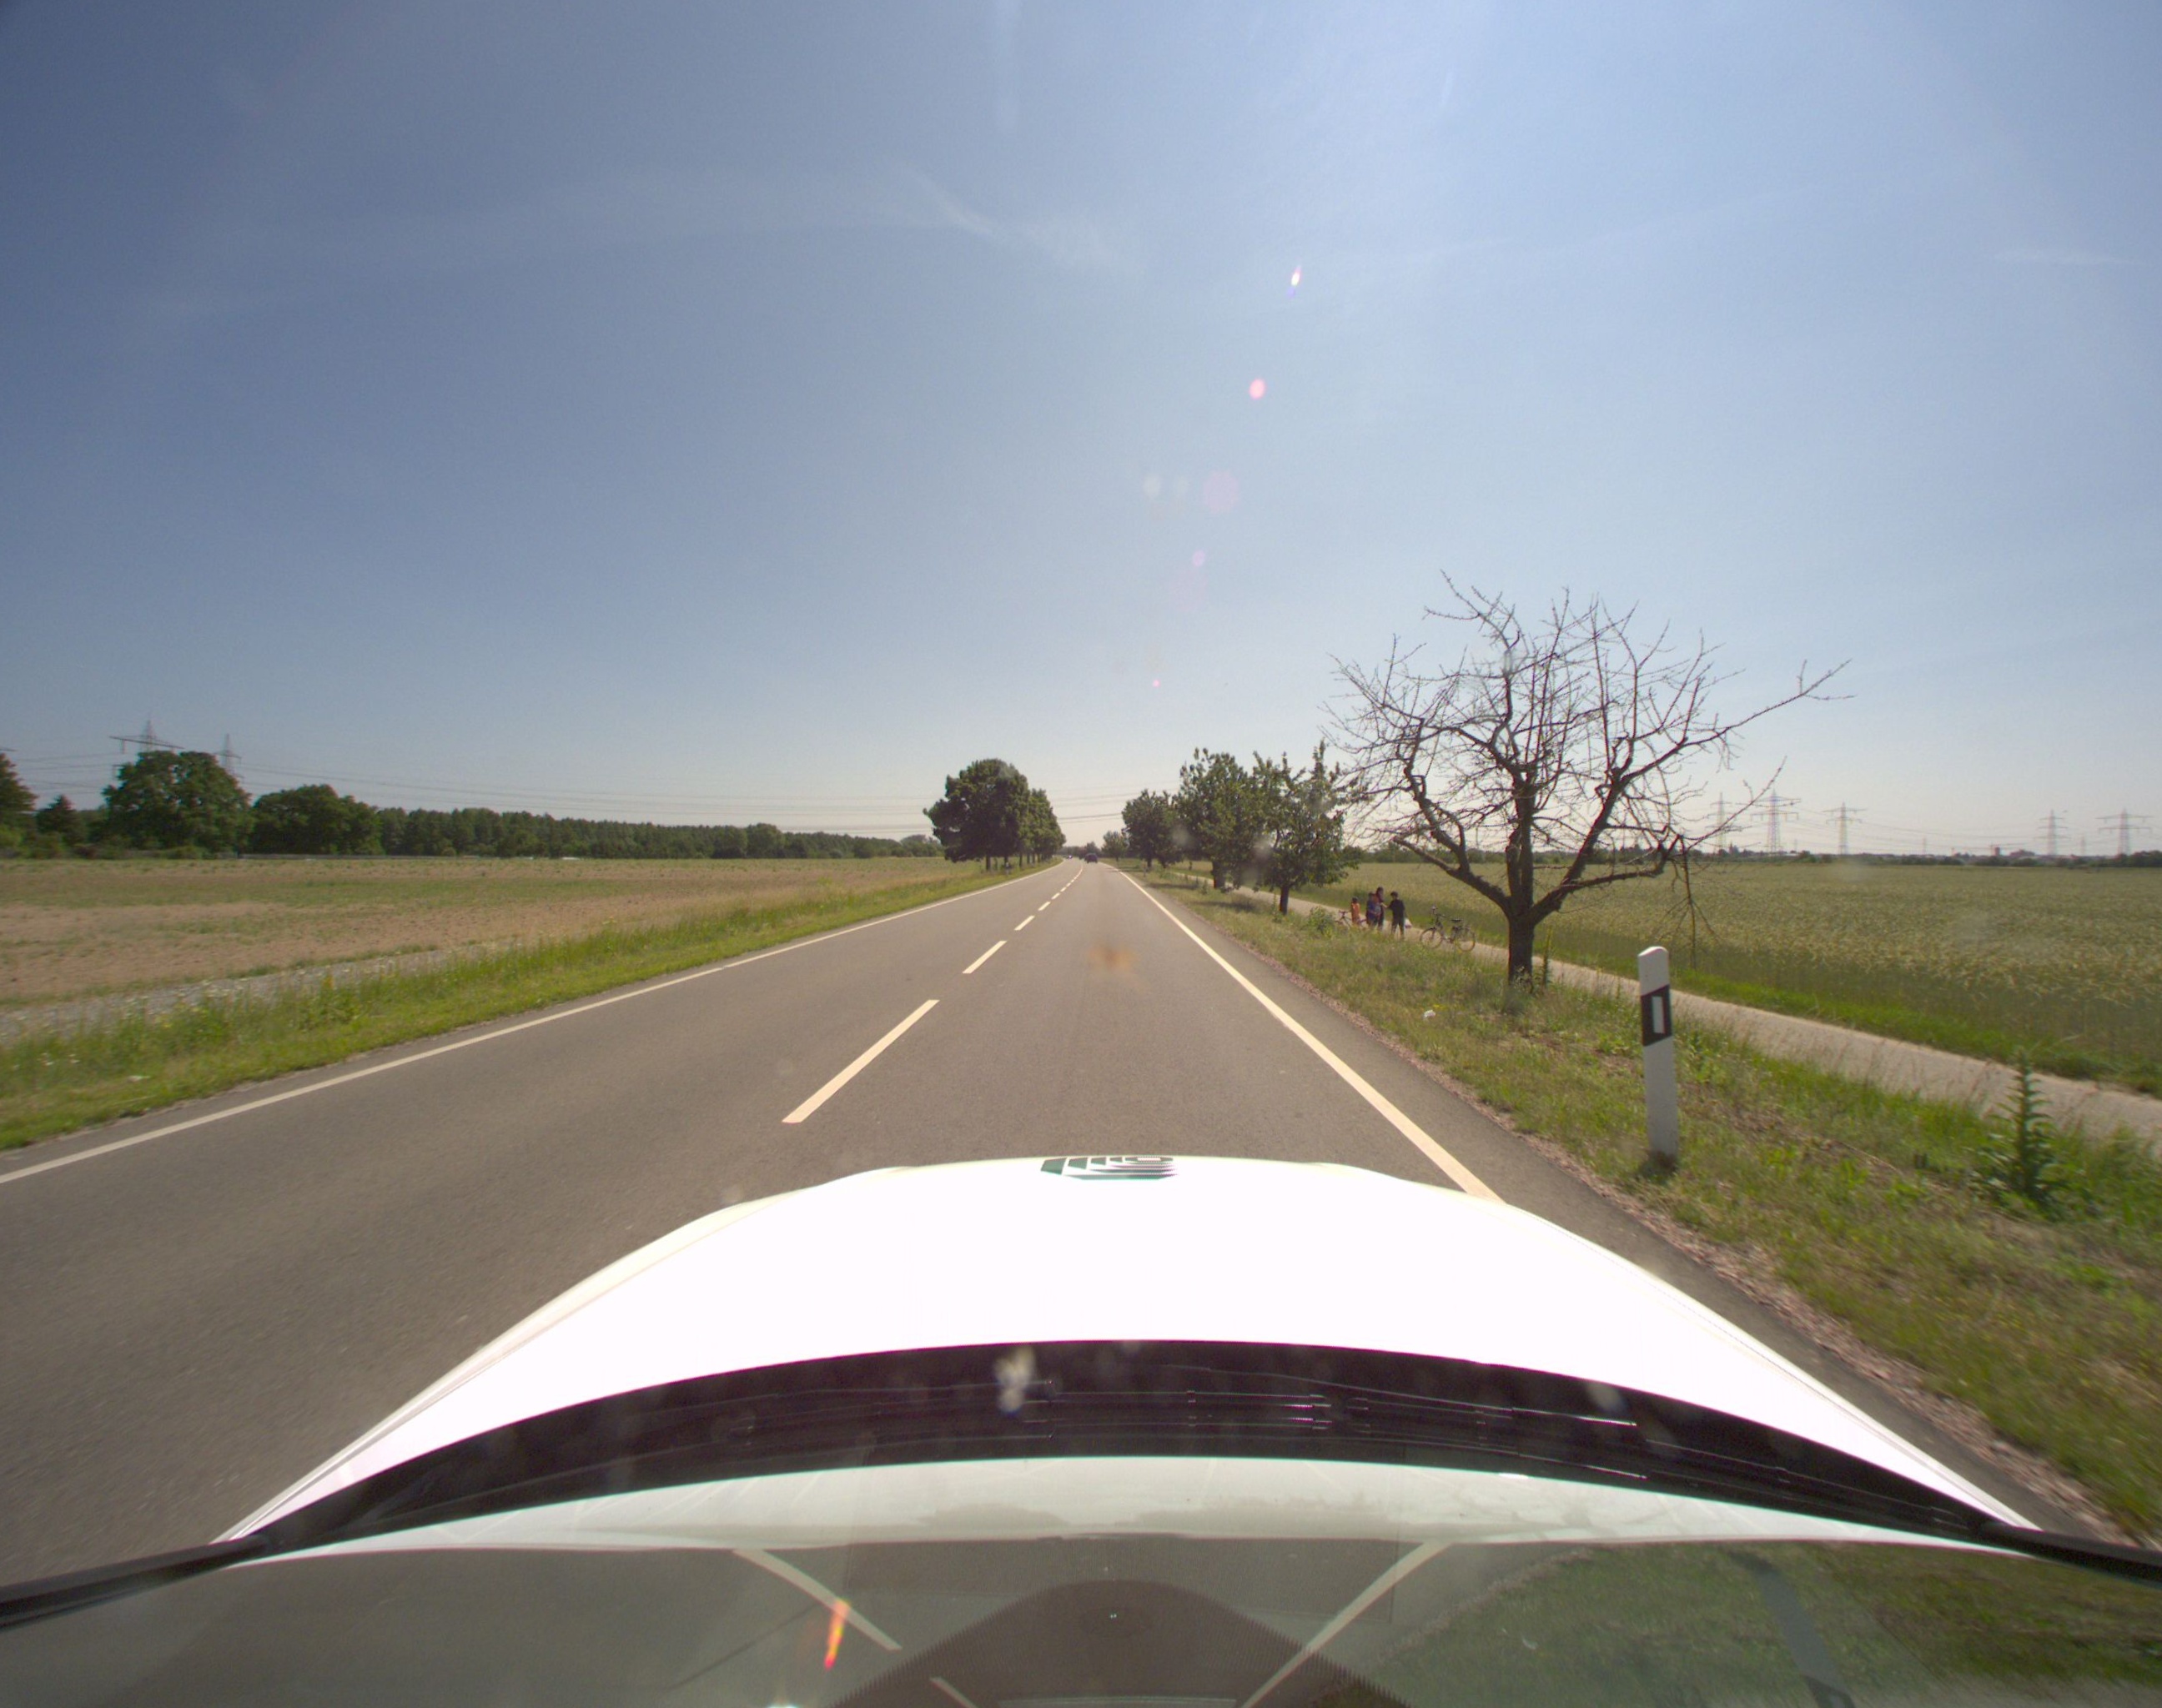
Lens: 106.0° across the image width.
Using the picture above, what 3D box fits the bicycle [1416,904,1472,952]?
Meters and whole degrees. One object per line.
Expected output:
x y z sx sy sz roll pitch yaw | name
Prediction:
9.936 2.006 22.351 0.476 1.165 1.675 0 0 -13 | bicycle

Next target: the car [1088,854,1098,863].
2.091 0.817 145.832 1.709 1.694 3.988 -1 0 0 | car

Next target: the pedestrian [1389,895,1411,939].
9.841 1.941 25.126 0.443 1.295 0.482 0 0 -32 | pedestrian

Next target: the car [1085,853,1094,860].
1.937 0.594 185.660 1.847 1.523 3.994 -1 0 -4 | car

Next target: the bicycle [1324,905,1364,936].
8.203 2.061 25.396 1.105 0.860 0.445 0 0 38 | bicycle

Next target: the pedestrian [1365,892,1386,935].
9.434 1.889 26.084 0.481 1.314 0.445 0 0 44 | pedestrian

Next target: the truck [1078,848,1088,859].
0.532 -0.109 249.027 2.366 3.140 8.733 0 0 -4 | truck

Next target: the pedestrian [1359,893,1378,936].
9.064 1.899 25.665 0.481 1.295 0.445 0 0 34 | pedestrian

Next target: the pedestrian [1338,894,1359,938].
8.202 1.883 24.951 0.481 1.295 0.445 0 0 42 | pedestrian
